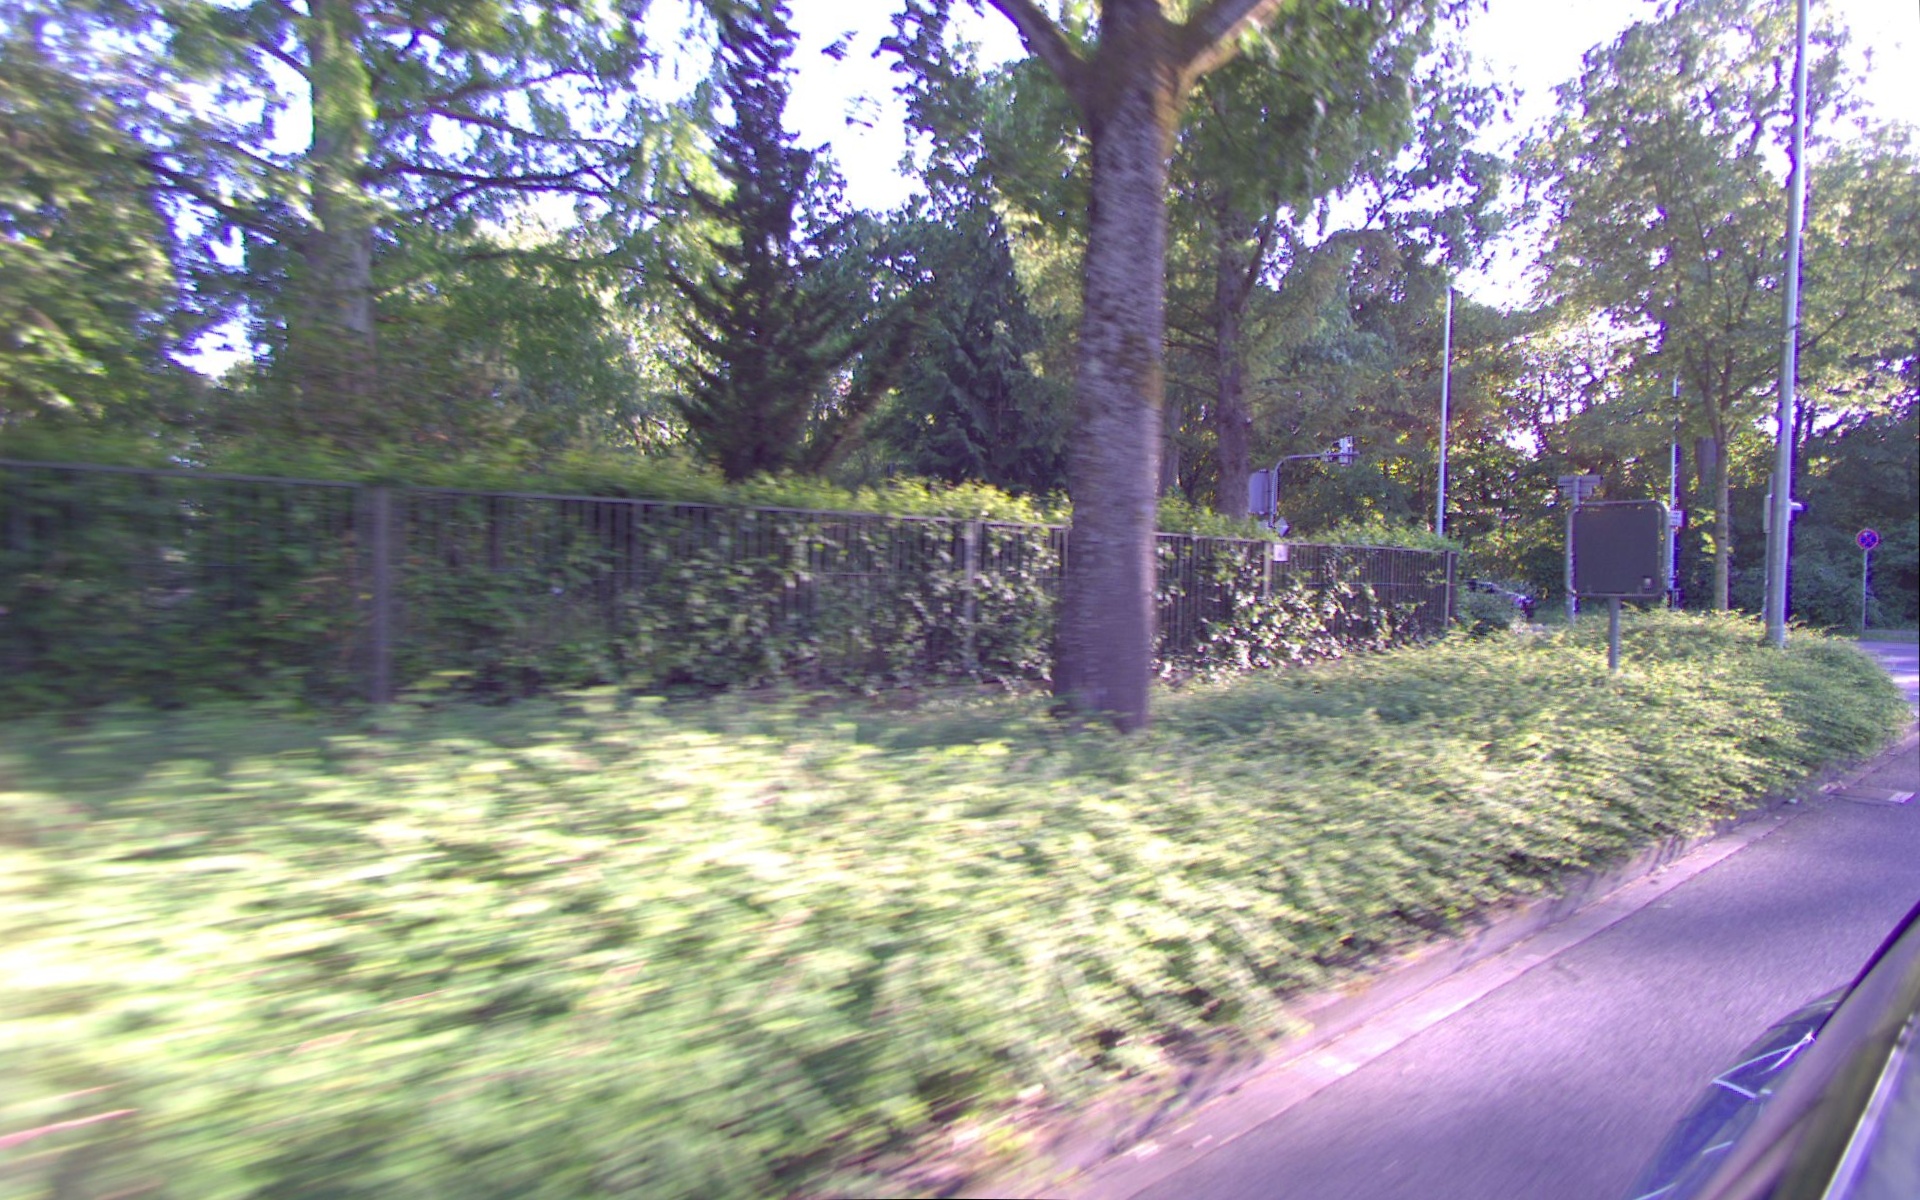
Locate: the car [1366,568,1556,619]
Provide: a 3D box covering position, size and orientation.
[{"bbox_3d":[17.965,-0.305,36.630,1.964,1.655,5.881,-1,2,-40],"label":"car"}]
